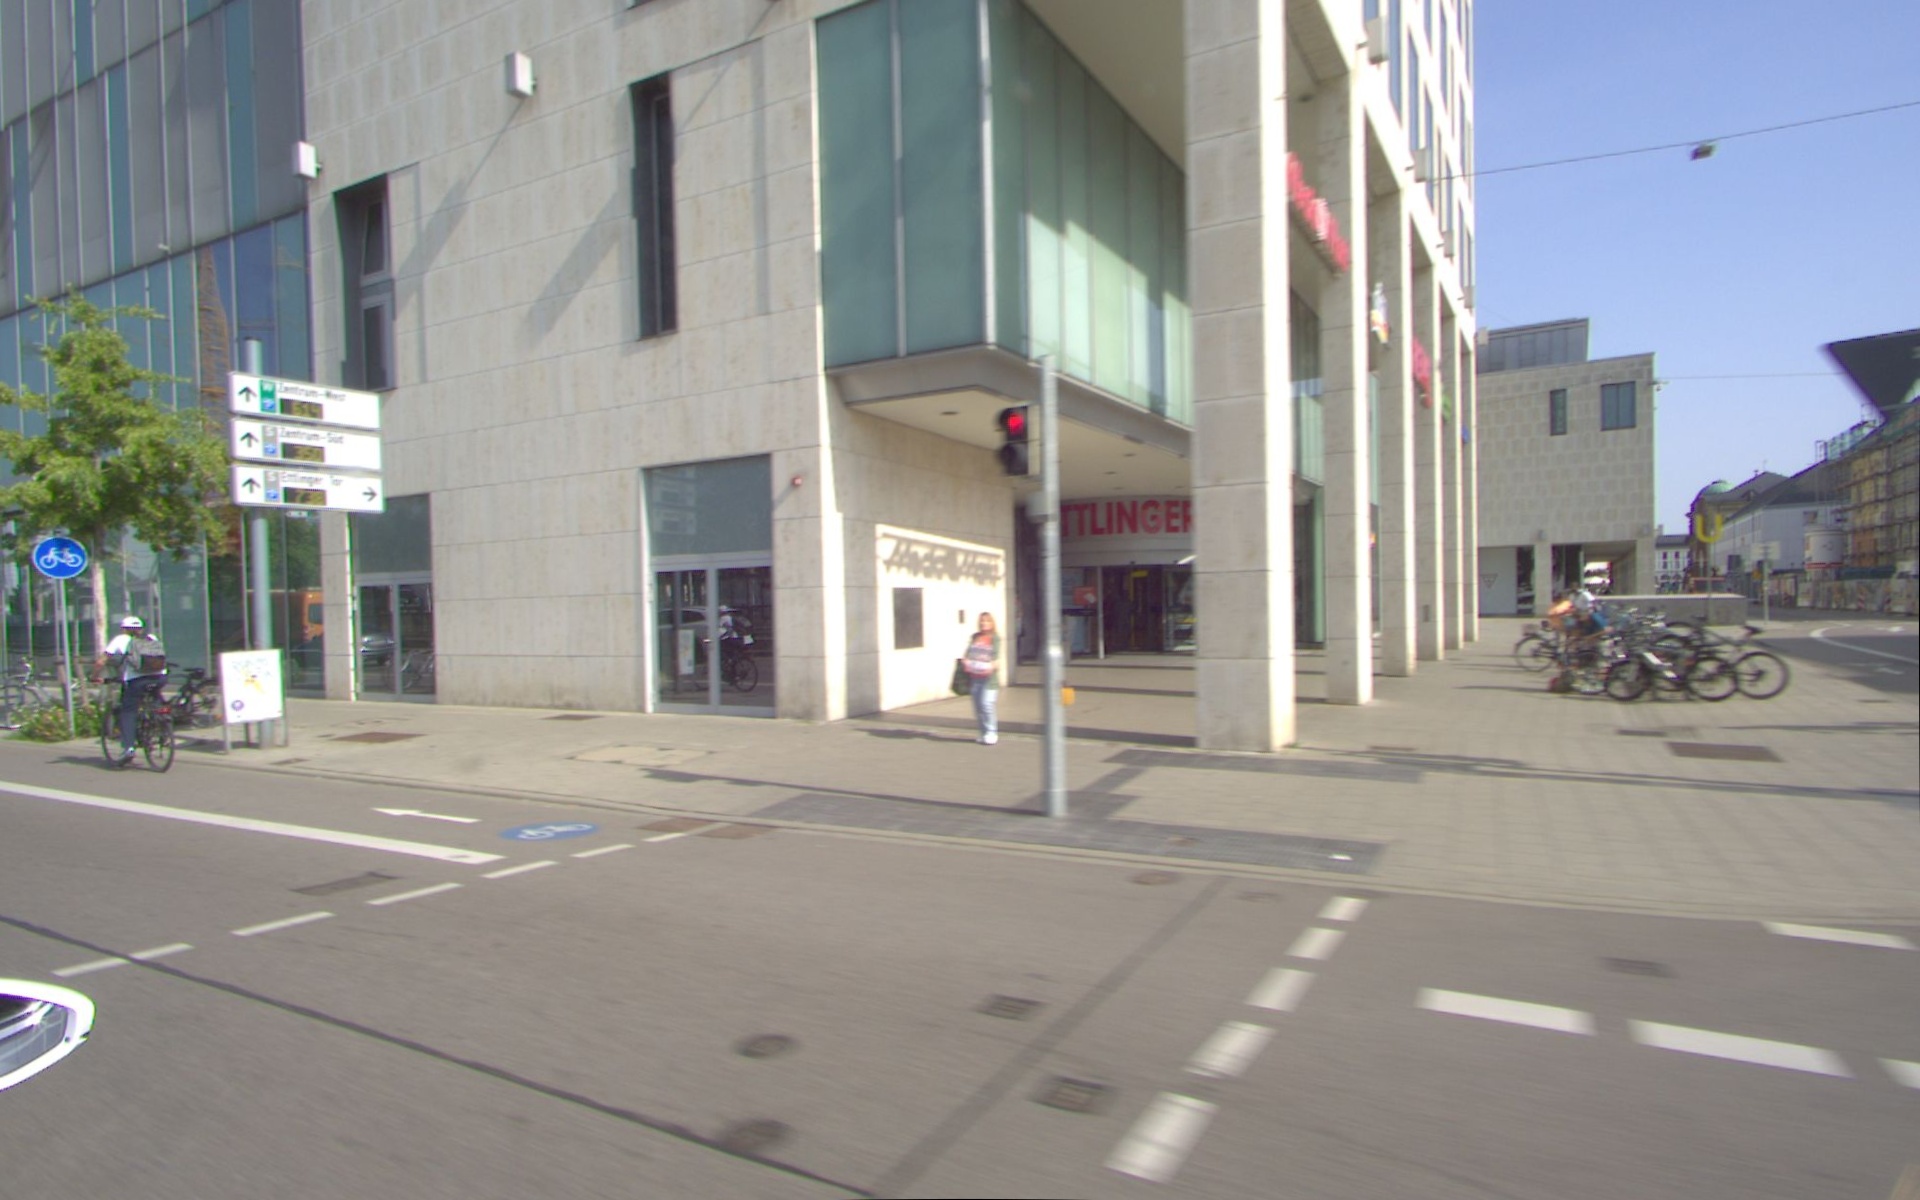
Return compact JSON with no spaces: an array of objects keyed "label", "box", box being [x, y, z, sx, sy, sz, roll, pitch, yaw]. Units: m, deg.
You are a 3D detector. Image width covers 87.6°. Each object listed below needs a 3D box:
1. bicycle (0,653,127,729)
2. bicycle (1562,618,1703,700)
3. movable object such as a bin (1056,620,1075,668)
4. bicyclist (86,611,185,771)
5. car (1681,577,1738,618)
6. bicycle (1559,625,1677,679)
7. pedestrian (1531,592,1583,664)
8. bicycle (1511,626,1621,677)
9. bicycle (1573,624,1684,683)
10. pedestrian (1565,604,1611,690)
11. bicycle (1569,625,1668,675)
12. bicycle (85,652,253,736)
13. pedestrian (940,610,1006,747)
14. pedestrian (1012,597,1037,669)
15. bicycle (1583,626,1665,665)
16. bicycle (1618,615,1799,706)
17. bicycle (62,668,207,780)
[{"label":"bicycle","box":[-15.283,1.509,16.863,0.483,1.124,1.875,-1,0,30]},{"label":"bicycle","box":[10.425,0.906,15.596,1.765,1.215,0.500,-1,0,28]},{"label":"movable object such as a bin","box":[2.469,1.028,23.500,0.350,1.114,0.291,0,1,31]},{"label":"bicyclist","box":[-9.596,1.026,11.658,0.758,1.772,0.650,0,1,31]},{"label":"car","box":[48.523,-0.114,64.942,2.390,2.440,4.986,-1,-2,31]},{"label":"bicycle","box":[12.416,0.966,18.937,1.832,0.969,0.457,-1,0,38]},{"label":"pedestrian","box":[12.733,0.586,21.360,0.724,1.505,0.602,-1,0,-2]},{"label":"bicycle","box":[12.019,1.003,19.896,1.832,0.969,0.457,-1,0,38]},{"label":"bicycle","box":[11.533,0.915,17.307,1.569,0.969,0.457,-1,0,38]},{"label":"pedestrian","box":[10.247,0.766,16.360,0.538,1.374,0.511,-1,0,22]},{"label":"bicycle","box":[13.386,1.007,20.368,1.649,0.969,0.457,-1,0,38]},{"label":"bicycle","box":[-11.690,1.353,14.862,0.677,1.127,1.837,-1,-2,30]},{"label":"pedestrian","box":[0.158,0.878,11.466,0.593,1.507,0.709,-1,1,13]},{"label":"pedestrian","box":[1.541,0.794,23.991,0.496,1.700,0.455,-1,1,-6]},{"label":"bicycle","box":[16.990,1.161,25.650,1.689,0.969,0.458,-1,0,28]},{"label":"bicycle","box":[10.858,0.857,14.619,2.040,1.253,0.612,-1,0,31]},{"label":"bicycle","box":[-9.667,1.406,11.700,2.021,1.132,0.660,-1,0,31]}]
